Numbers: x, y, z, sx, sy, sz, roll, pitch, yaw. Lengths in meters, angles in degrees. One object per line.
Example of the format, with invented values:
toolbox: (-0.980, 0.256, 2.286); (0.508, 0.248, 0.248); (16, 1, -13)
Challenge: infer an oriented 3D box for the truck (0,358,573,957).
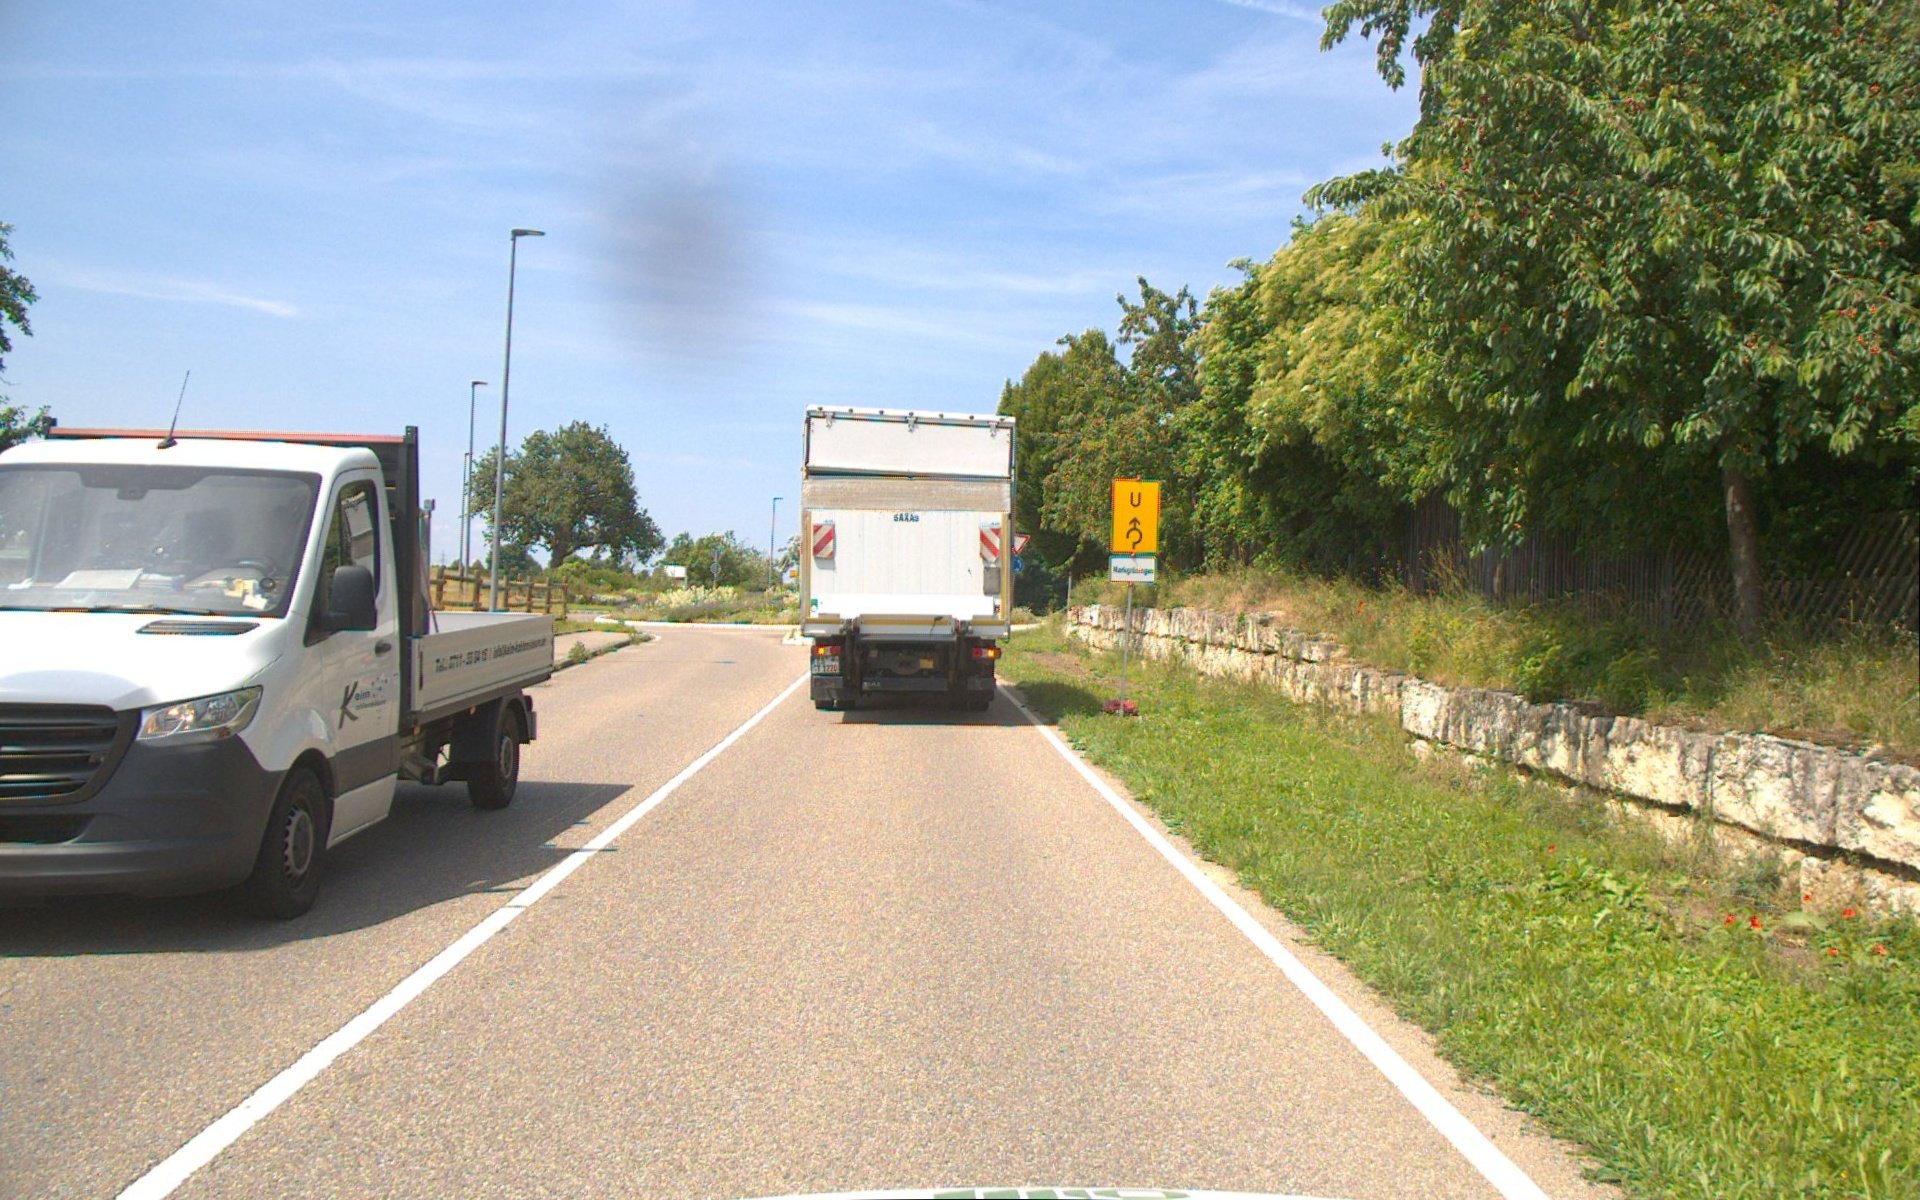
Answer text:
truck: (-4.027, 0.217, 9.696); (2.178, 2.333, 6.489); (1, 0, -2)

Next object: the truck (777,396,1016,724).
truck: (-0.997, -0.469, 23.784); (2.712, 3.735, 9.376); (1, 0, -3)
